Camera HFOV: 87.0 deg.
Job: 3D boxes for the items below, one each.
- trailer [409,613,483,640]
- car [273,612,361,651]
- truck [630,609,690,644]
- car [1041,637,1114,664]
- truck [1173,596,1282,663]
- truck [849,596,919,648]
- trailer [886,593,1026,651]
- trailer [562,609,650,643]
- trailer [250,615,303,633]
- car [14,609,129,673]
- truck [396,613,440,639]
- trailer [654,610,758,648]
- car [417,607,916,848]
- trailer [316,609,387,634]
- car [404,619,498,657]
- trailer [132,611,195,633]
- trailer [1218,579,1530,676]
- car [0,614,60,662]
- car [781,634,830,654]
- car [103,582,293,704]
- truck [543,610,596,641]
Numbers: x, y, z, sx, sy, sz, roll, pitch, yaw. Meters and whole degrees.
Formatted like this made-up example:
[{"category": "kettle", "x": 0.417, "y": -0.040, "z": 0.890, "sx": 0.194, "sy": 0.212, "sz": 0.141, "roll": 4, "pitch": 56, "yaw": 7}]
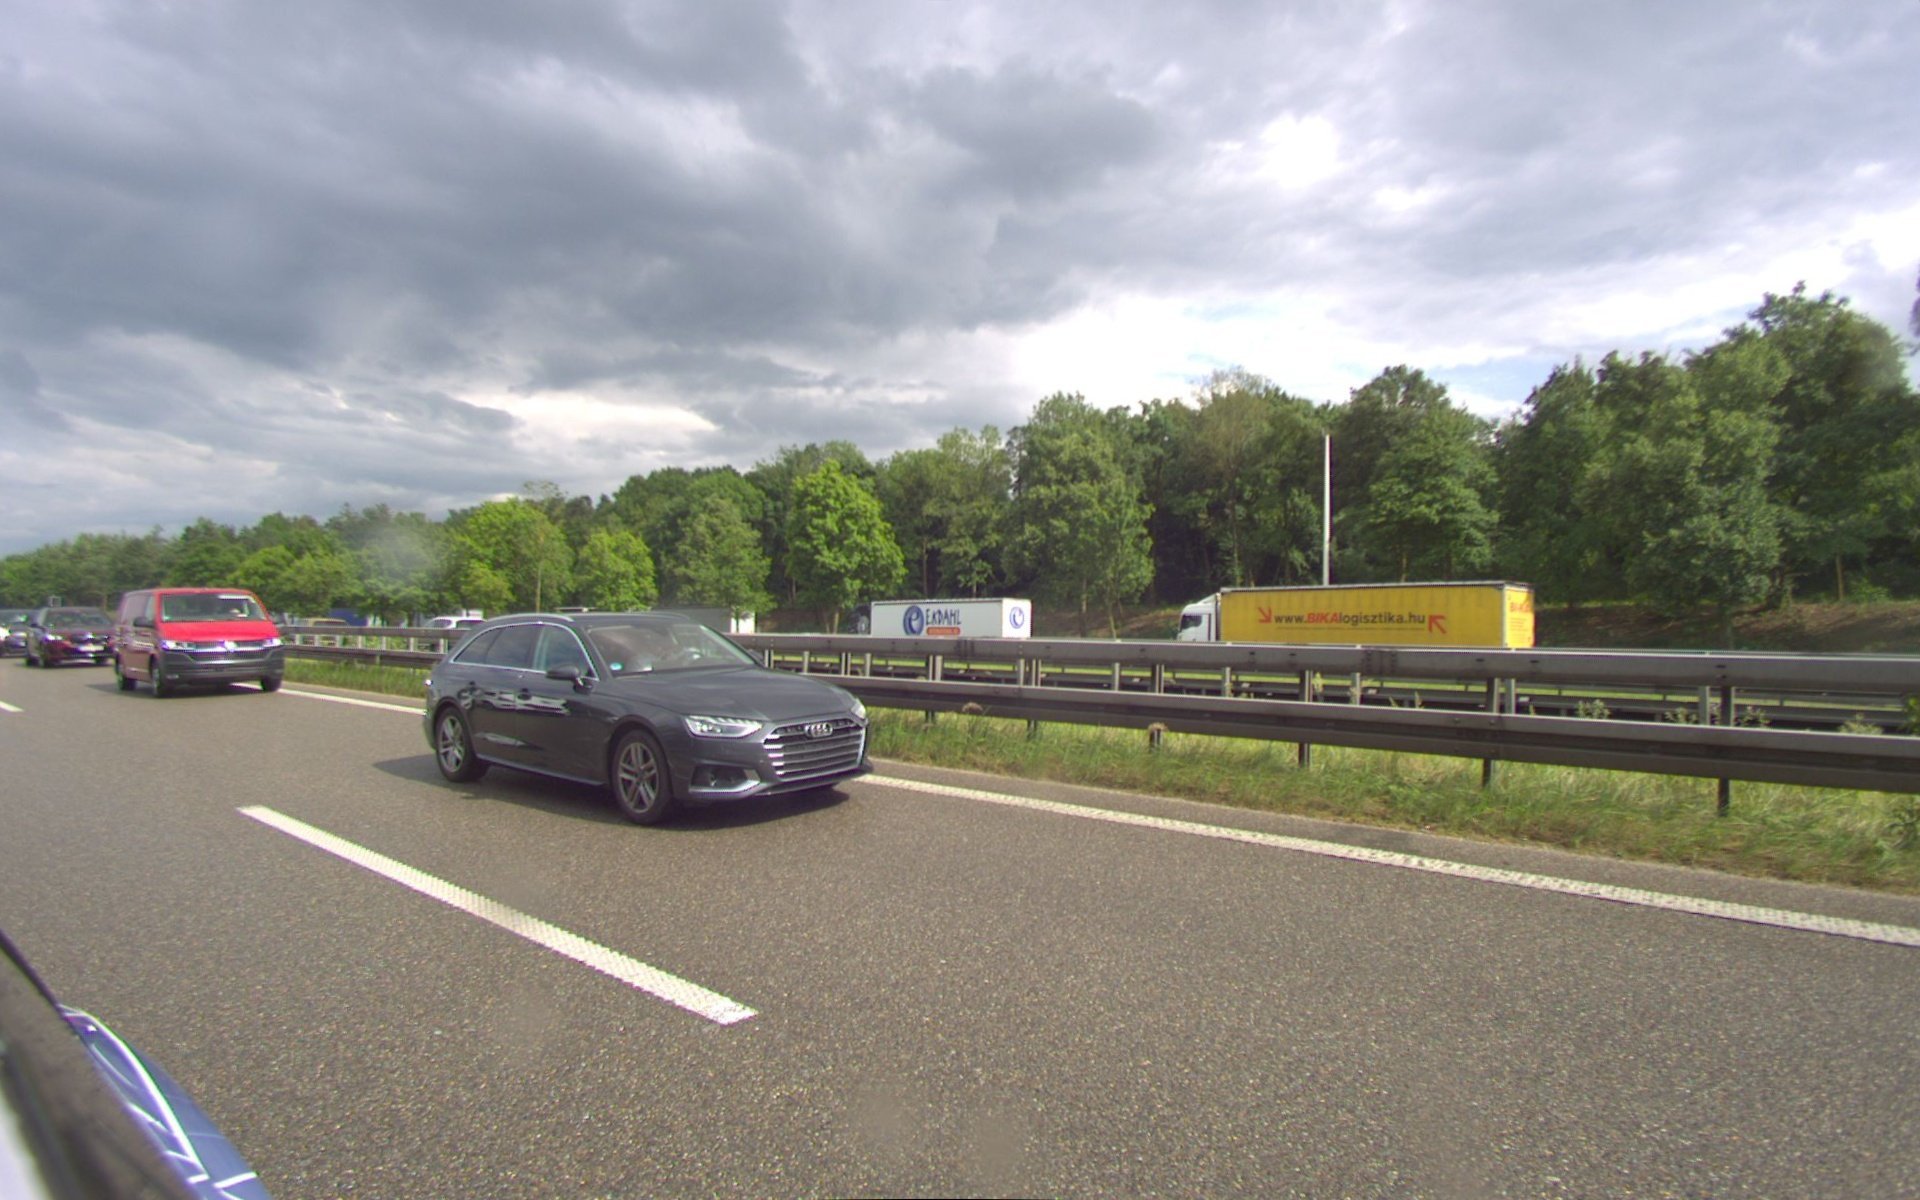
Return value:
[{"category": "trailer", "x": -64.170, "y": 3.272, "z": 126.230, "sx": 12.631, "sy": 3.296, "sz": 3.153, "roll": -1, "pitch": -2, "yaw": 38}, {"category": "car", "x": -24.277, "y": 1.157, "z": 38.177, "sx": 3.998, "sy": 1.347, "sz": 1.783, "roll": -1, "pitch": 0, "yaw": 41}, {"category": "truck", "x": -28.887, "y": 2.563, "z": 97.401, "sx": 5.596, "sy": 3.208, "sz": 3.009, "roll": -1, "pitch": -2, "yaw": 43}, {"category": "car", "x": 6.813, "y": 2.920, "z": 58.924, "sx": 1.871, "sy": 1.514, "sz": 4.005, "roll": 2, "pitch": -2, "yaw": -41}, {"category": "truck", "x": 13.236, "y": 1.416, "z": 50.373, "sx": 1.950, "sy": 3.121, "sz": 5.087, "roll": -1, "pitch": 0, "yaw": -37}, {"category": "truck", "x": -5.573, "y": 1.628, "z": 73.483, "sx": 2.136, "sy": 3.648, "sz": 5.585, "roll": 2, "pitch": -2, "yaw": -42}, {"category": "trailer", "x": -0.520, "y": 1.489, "z": 67.864, "sx": 2.156, "sy": 3.627, "sz": 11.734, "roll": 2, "pitch": -2, "yaw": -41}, {"category": "trailer", "x": -36.768, "y": 2.679, "z": 104.768, "sx": 12.640, "sy": 3.296, "sz": 2.577, "roll": -1, "pitch": -3, "yaw": 41}, {"category": "trailer", "x": -102.266, "y": 3.587, "z": 151.280, "sx": 9.839, "sy": 2.594, "sz": 2.512, "roll": 0, "pitch": -1, "yaw": 30}, {"category": "car", "x": -25.235, "y": 1.117, "z": 28.701, "sx": 4.292, "sy": 1.682, "sz": 1.871, "roll": -1, "pitch": -1, "yaw": 40}, {"category": "truck", "x": -70.201, "y": 3.352, "z": 131.049, "sx": 5.385, "sy": 3.280, "sz": 3.142, "roll": -1, "pitch": -3, "yaw": 39}, {"category": "trailer", "x": -23.320, "y": 2.620, "z": 92.245, "sx": 12.173, "sy": 3.217, "sz": 2.987, "roll": -1, "pitch": -2, "yaw": 43}, {"category": "car", "x": -2.561, "y": 0.790, "z": 8.137, "sx": 4.465, "sy": 1.422, "sz": 1.701, "roll": -1, "pitch": -1, "yaw": 41}, {"category": "trailer", "x": -84.535, "y": 2.952, "z": 140.496, "sx": 13.375, "sy": 3.296, "sz": 3.050, "roll": -1, "pitch": -2, "yaw": 34}, {"category": "car", "x": -20.026, "y": 1.437, "z": 39.738, "sx": 4.409, "sy": 1.347, "sz": 1.783, "roll": 0, "pitch": 0, "yaw": 41}, {"category": "trailer", "x": -130.049, "y": 3.548, "z": 165.233, "sx": 13.353, "sy": 3.539, "sz": 2.681, "roll": -1, "pitch": -2, "yaw": 27}, {"category": "trailer", "x": 17.525, "y": 1.076, "z": 44.691, "sx": 1.967, "sy": 3.723, "sz": 13.688, "roll": 0, "pitch": 0, "yaw": -37}, {"category": "car", "x": -33.032, "y": 1.282, "z": 35.342, "sx": 4.051, "sy": 1.578, "sz": 1.871, "roll": -1, "pitch": -1, "yaw": 41}, {"category": "car", "x": -12.434, "y": 3.521, "z": 81.221, "sx": 4.002, "sy": 1.514, "sz": 1.873, "roll": -1, "pitch": -3, "yaw": 45}, {"category": "car", "x": -14.335, "y": 0.743, "z": 18.928, "sx": 4.747, "sy": 2.000, "sz": 1.871, "roll": -1, "pitch": -1, "yaw": 41}, {"category": "truck", "x": -42.284, "y": 2.756, "z": 109.477, "sx": 6.532, "sy": 3.275, "sz": 2.549, "roll": -1, "pitch": -2, "yaw": 41}]
